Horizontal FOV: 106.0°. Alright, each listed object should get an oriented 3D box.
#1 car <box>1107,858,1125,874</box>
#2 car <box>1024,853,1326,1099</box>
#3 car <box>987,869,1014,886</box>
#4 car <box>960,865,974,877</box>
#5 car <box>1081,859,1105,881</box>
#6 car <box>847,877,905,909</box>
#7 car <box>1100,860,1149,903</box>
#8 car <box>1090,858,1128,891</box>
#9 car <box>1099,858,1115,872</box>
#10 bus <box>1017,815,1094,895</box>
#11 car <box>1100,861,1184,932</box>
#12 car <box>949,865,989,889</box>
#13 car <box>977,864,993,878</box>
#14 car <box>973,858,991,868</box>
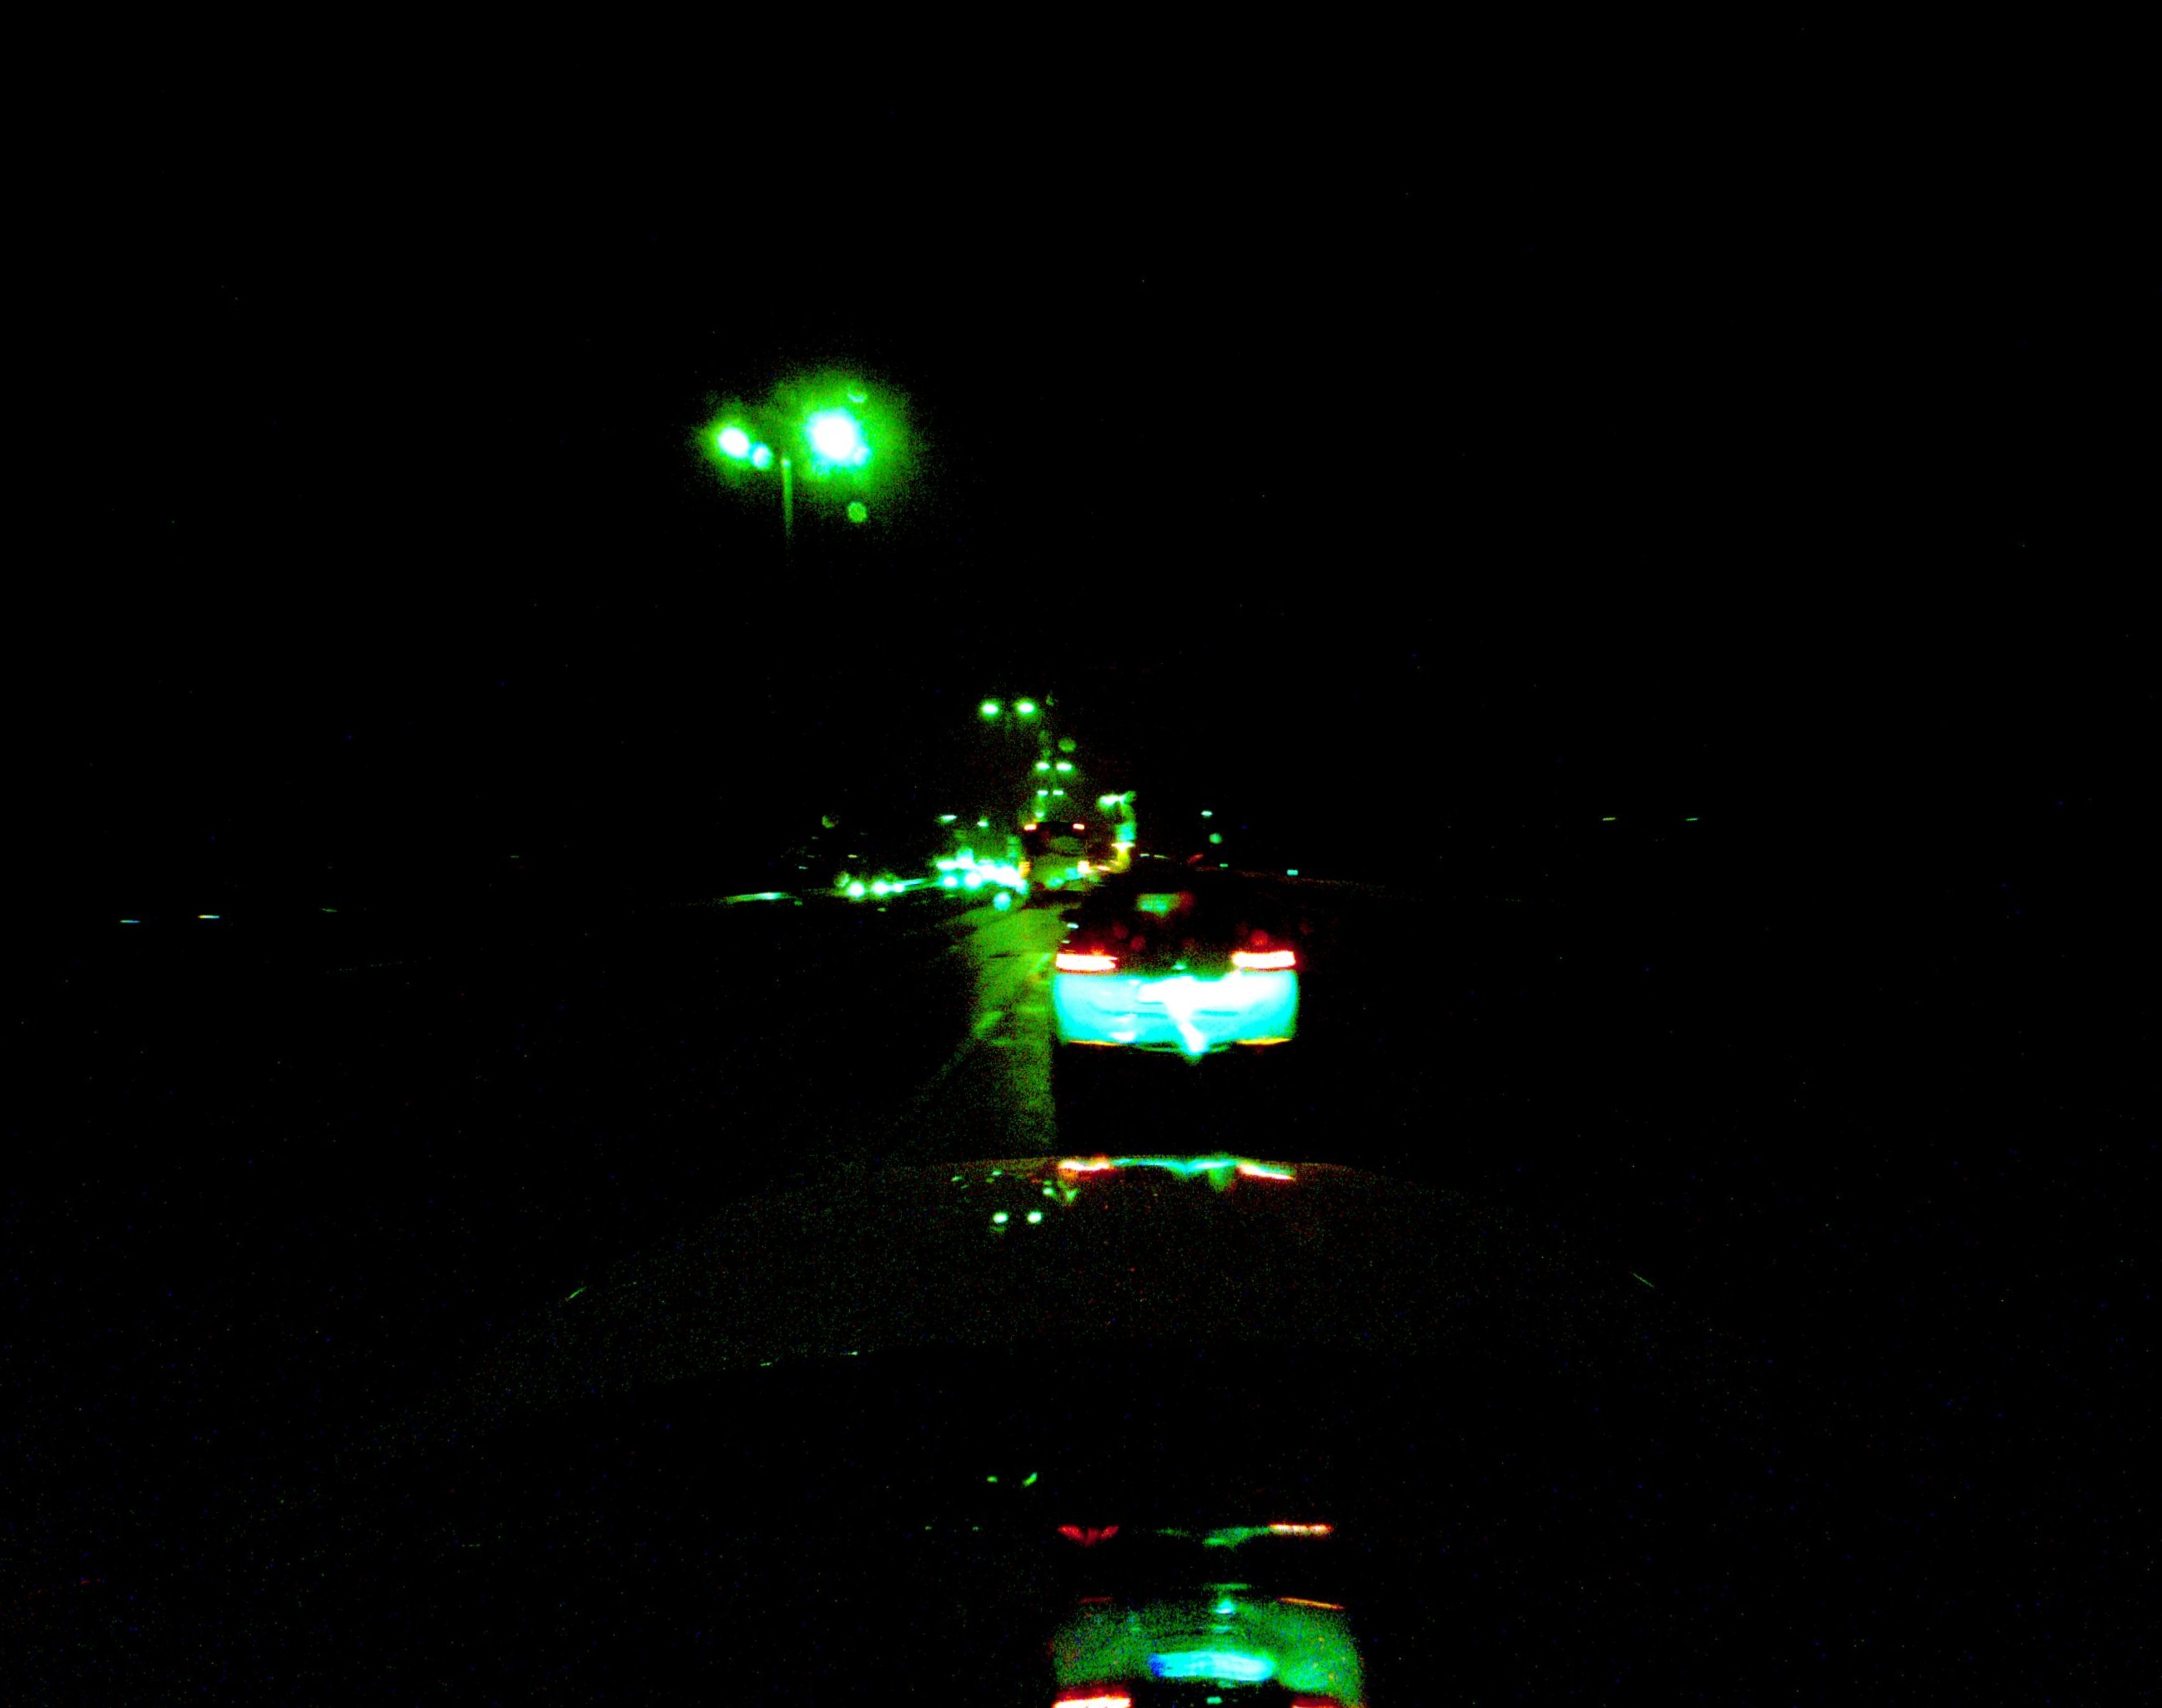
[{"bbox_3d":[3.766,1.245,87.243,1.813,1.590,3.777,-3,0,1],"label":"car"},{"bbox_3d":[0.731,0.776,7.326,1.813,1.484,4.572,-2,0,4],"label":"car"},{"bbox_3d":[-7.840,2.276,80.102,1.848,1.476,4.782,-2,0,3],"label":"car"},{"bbox_3d":[-19.123,2.802,136.387,1.989,2.014,3.996,-1,-1,-3],"label":"car"},{"bbox_3d":[0.947,1.204,62.647,1.773,1.543,3.876,-1,0,1],"label":"car"},{"bbox_3d":[-10.724,2.035,42.857,1.603,1.381,4.168,-4,-1,4],"label":"car"},{"bbox_3d":[1.653,1.032,31.878,1.733,1.565,3.776,-1,0,0],"label":"car"},{"bbox_3d":[1.417,1.027,42.657,1.814,1.590,3.776,-3,0,0],"label":"car"},{"bbox_3d":[3.228,1.346,101.073,1.813,1.590,3.777,-3,0,1],"label":"car"},{"bbox_3d":[-0.925,0.074,36.045,2.805,3.024,8.690,-1,0,2],"label":"bus"},{"bbox_3d":[1.357,0.910,19.363,1.725,1.449,4.727,-1,0,2],"label":"car"},{"bbox_3d":[-7.118,1.428,52.077,1.603,1.382,4.751,-2,0,4],"label":"car"},{"bbox_3d":[-13.822,2.408,117.492,1.989,2.014,3.996,-1,-1,-3],"label":"car"},{"bbox_3d":[-19.339,1.766,158.546,2.008,2.014,3.958,0,-1,-33],"label":"car"}]
